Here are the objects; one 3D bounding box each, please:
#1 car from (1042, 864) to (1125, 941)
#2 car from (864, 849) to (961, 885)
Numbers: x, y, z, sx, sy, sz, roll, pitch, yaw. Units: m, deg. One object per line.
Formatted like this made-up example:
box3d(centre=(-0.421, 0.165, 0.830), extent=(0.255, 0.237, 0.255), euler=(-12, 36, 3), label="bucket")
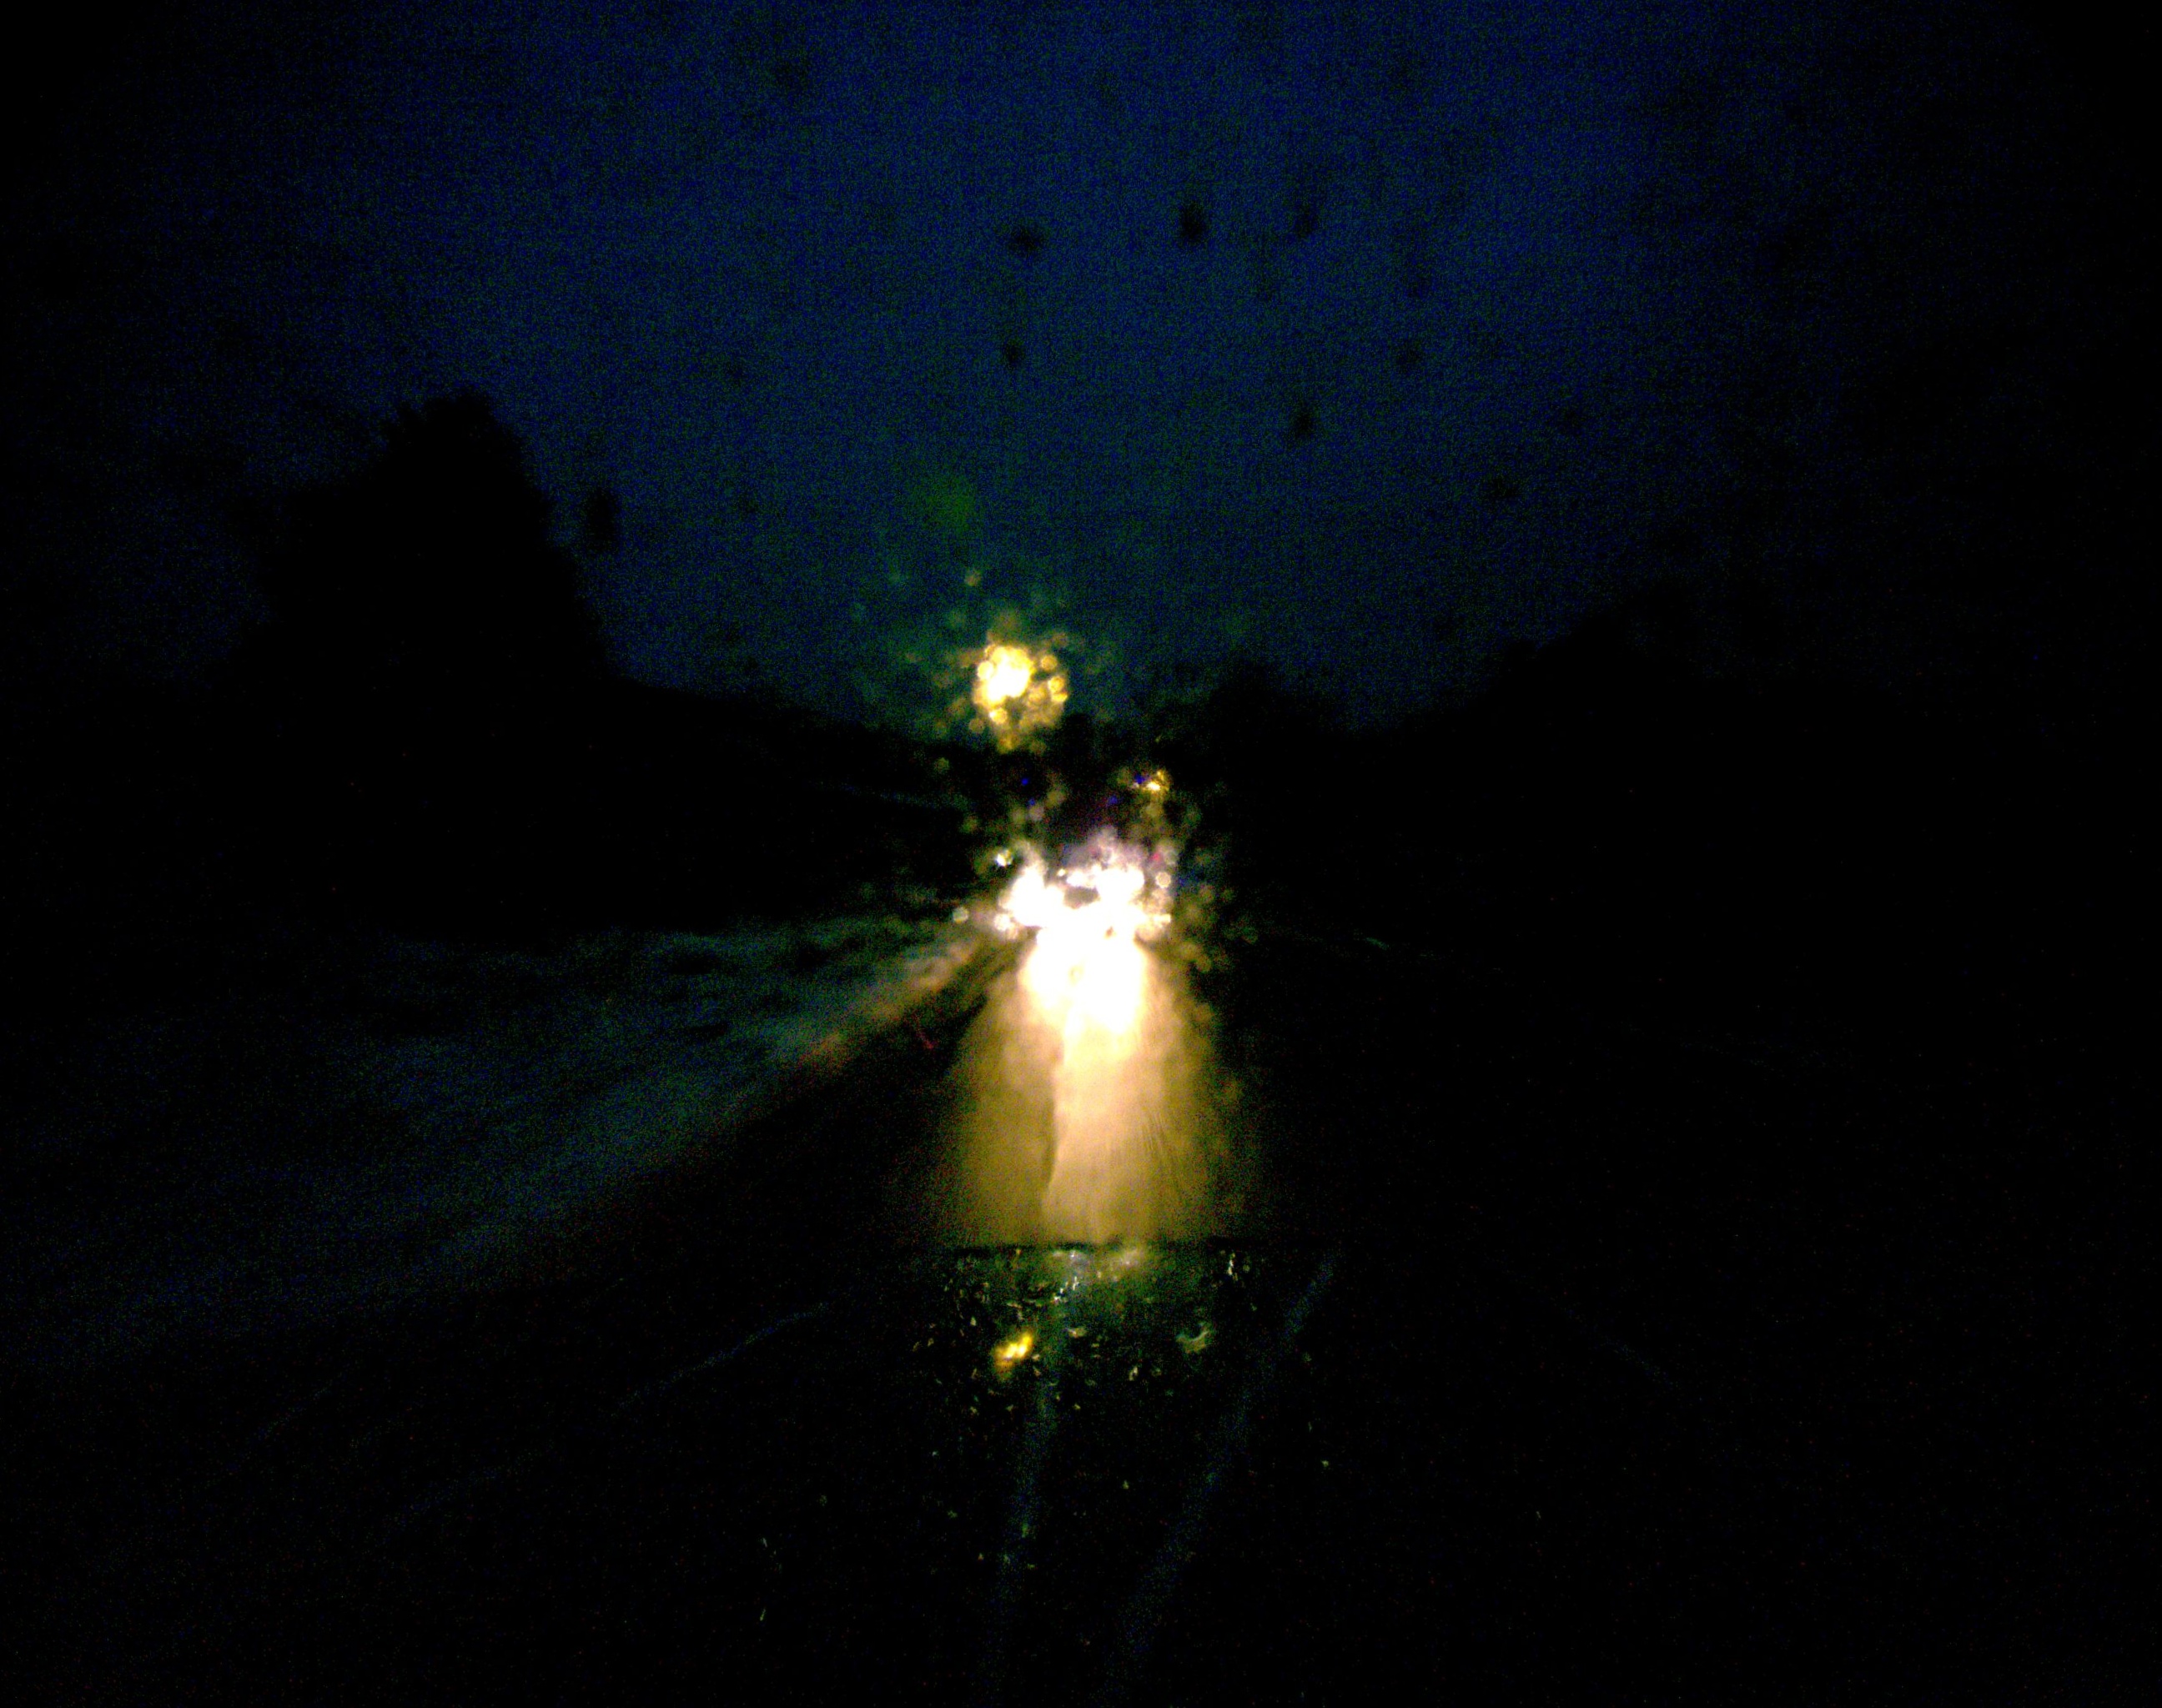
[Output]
box3d(centre=(0.023, 0.994, 17.056), extent=(1.650, 1.446, 3.679), euler=(1, 1, -1), label="car")
box3d(centre=(-8.624, 0.651, 39.041), extent=(4.403, 1.647, 1.864), euler=(2, -1, 9), label="car")
